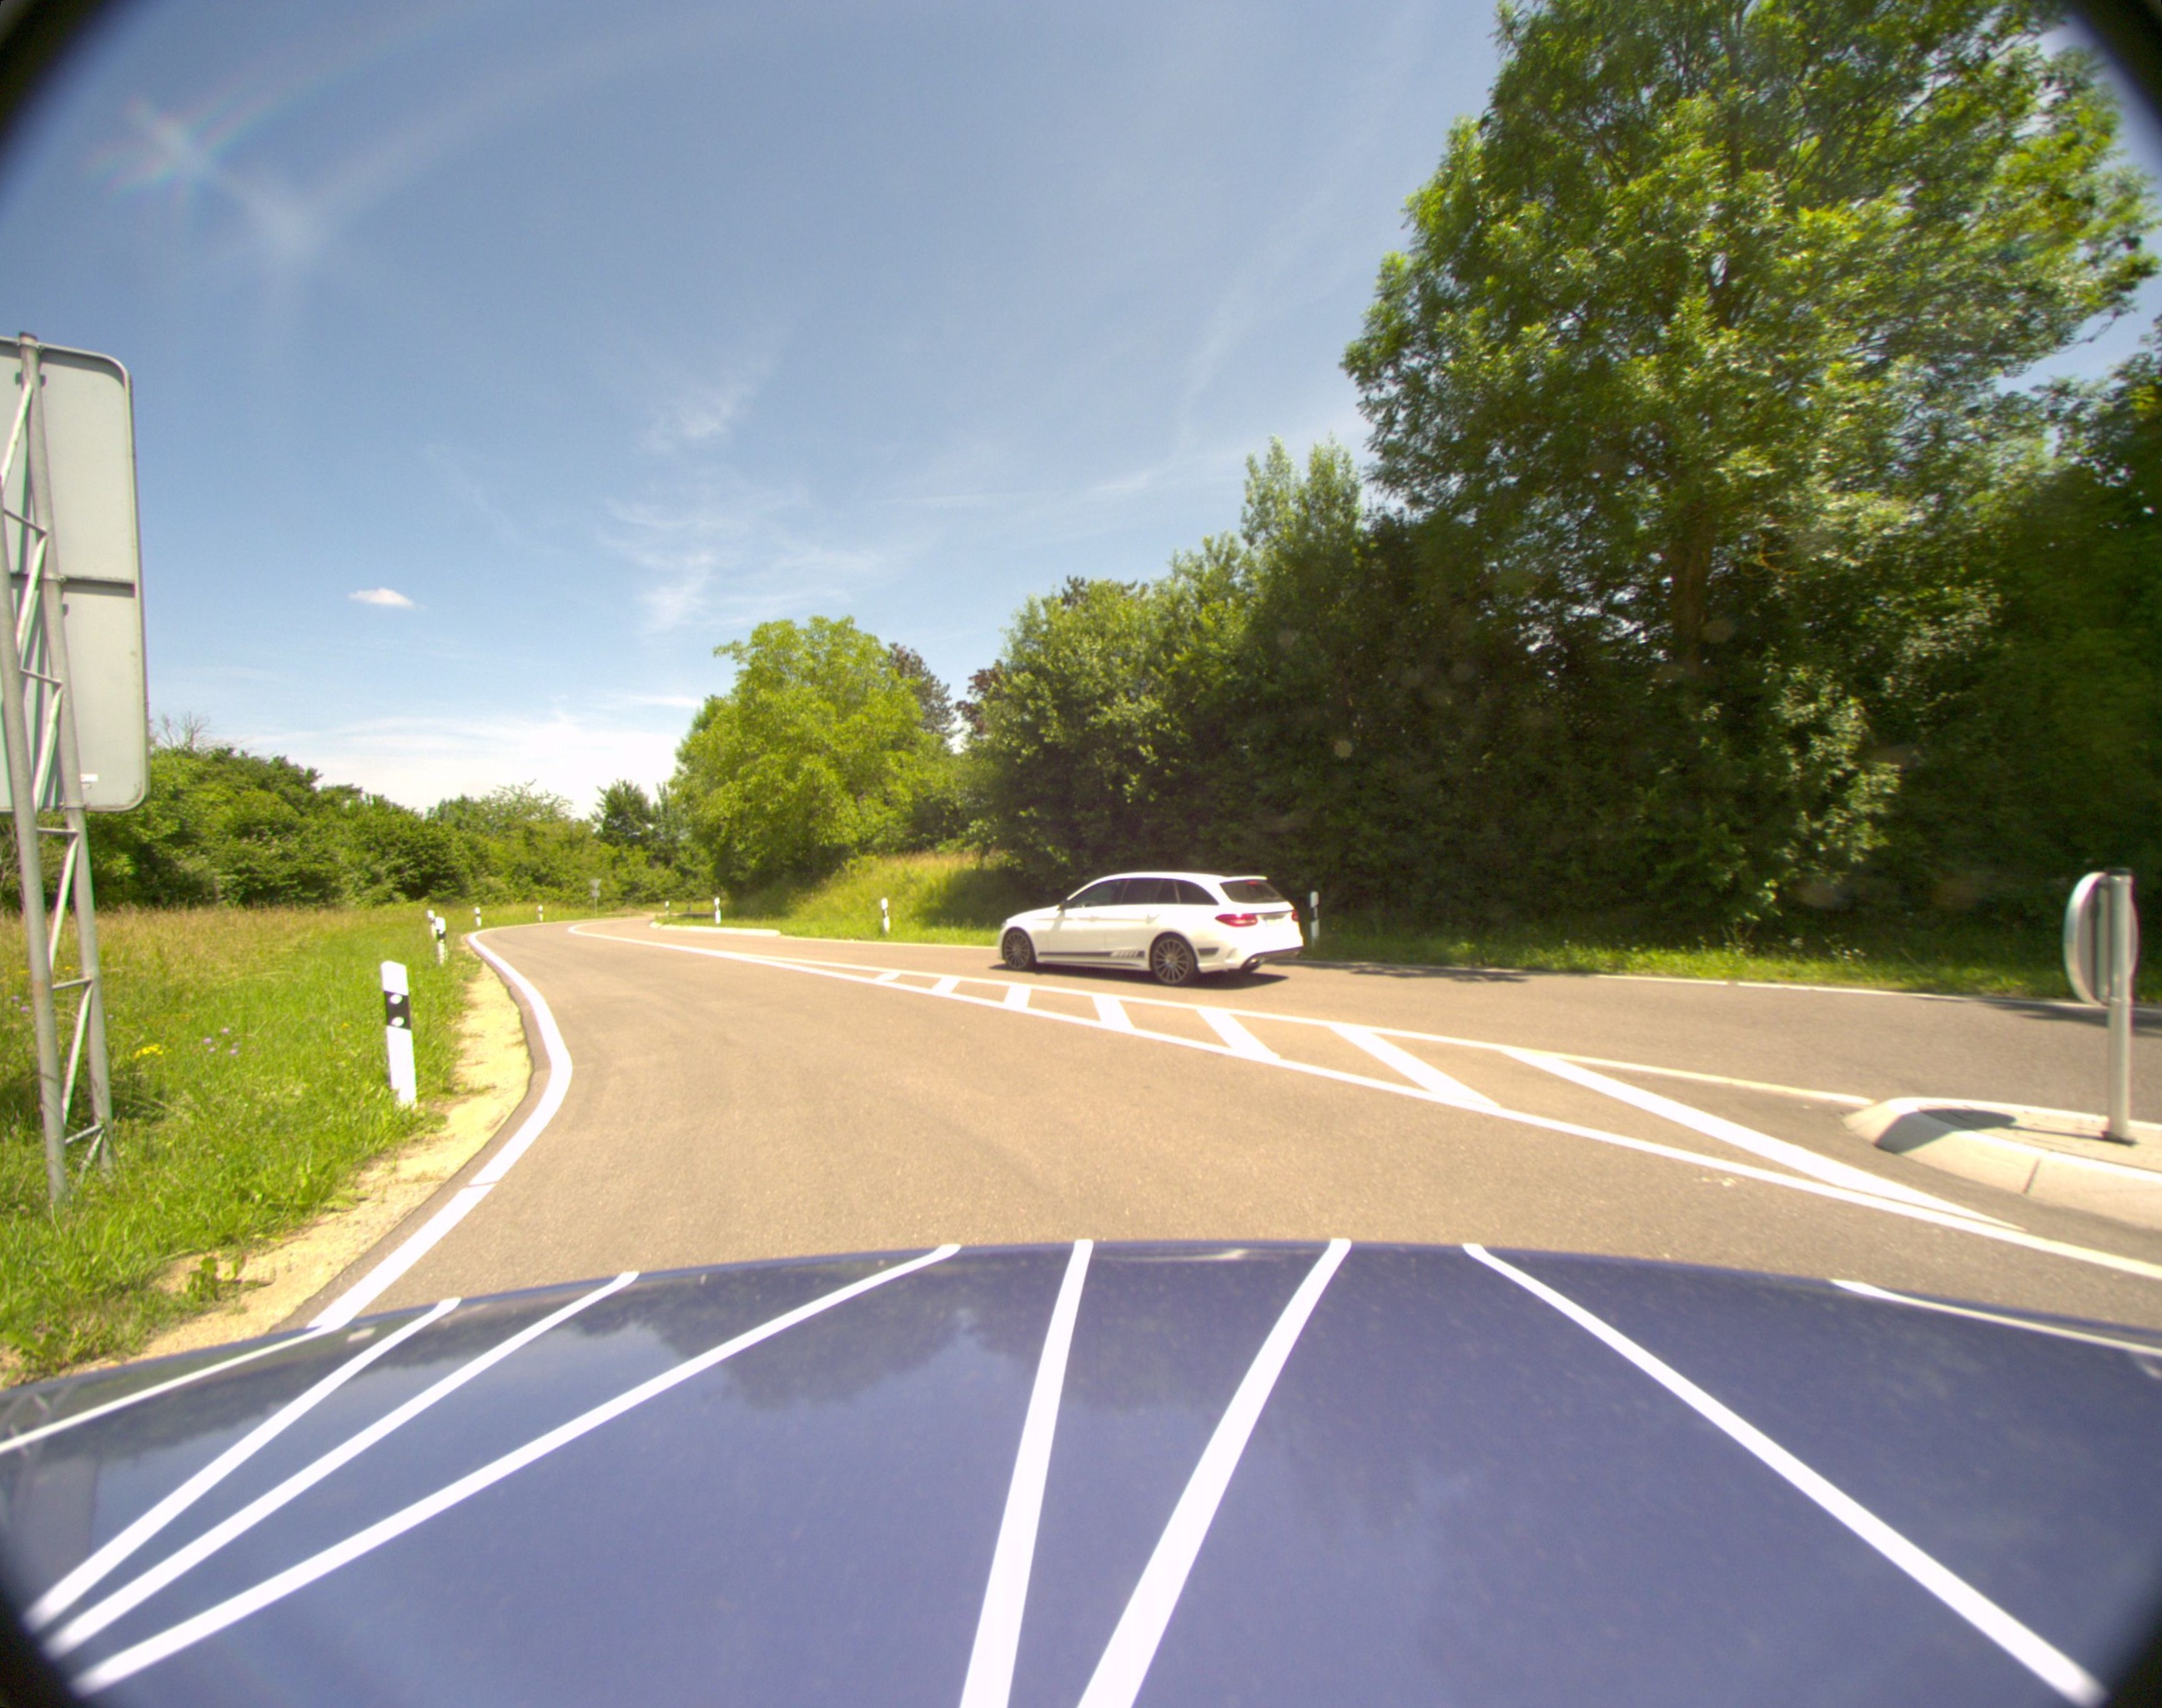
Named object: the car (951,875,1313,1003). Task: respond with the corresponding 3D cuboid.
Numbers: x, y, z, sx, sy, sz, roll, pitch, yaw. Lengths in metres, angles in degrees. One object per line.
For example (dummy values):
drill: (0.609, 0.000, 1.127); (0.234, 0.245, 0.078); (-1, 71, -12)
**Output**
car: (0.473, 1.084, 11.182); (5.320, 1.404, 1.814); (-3, -1, 43)
